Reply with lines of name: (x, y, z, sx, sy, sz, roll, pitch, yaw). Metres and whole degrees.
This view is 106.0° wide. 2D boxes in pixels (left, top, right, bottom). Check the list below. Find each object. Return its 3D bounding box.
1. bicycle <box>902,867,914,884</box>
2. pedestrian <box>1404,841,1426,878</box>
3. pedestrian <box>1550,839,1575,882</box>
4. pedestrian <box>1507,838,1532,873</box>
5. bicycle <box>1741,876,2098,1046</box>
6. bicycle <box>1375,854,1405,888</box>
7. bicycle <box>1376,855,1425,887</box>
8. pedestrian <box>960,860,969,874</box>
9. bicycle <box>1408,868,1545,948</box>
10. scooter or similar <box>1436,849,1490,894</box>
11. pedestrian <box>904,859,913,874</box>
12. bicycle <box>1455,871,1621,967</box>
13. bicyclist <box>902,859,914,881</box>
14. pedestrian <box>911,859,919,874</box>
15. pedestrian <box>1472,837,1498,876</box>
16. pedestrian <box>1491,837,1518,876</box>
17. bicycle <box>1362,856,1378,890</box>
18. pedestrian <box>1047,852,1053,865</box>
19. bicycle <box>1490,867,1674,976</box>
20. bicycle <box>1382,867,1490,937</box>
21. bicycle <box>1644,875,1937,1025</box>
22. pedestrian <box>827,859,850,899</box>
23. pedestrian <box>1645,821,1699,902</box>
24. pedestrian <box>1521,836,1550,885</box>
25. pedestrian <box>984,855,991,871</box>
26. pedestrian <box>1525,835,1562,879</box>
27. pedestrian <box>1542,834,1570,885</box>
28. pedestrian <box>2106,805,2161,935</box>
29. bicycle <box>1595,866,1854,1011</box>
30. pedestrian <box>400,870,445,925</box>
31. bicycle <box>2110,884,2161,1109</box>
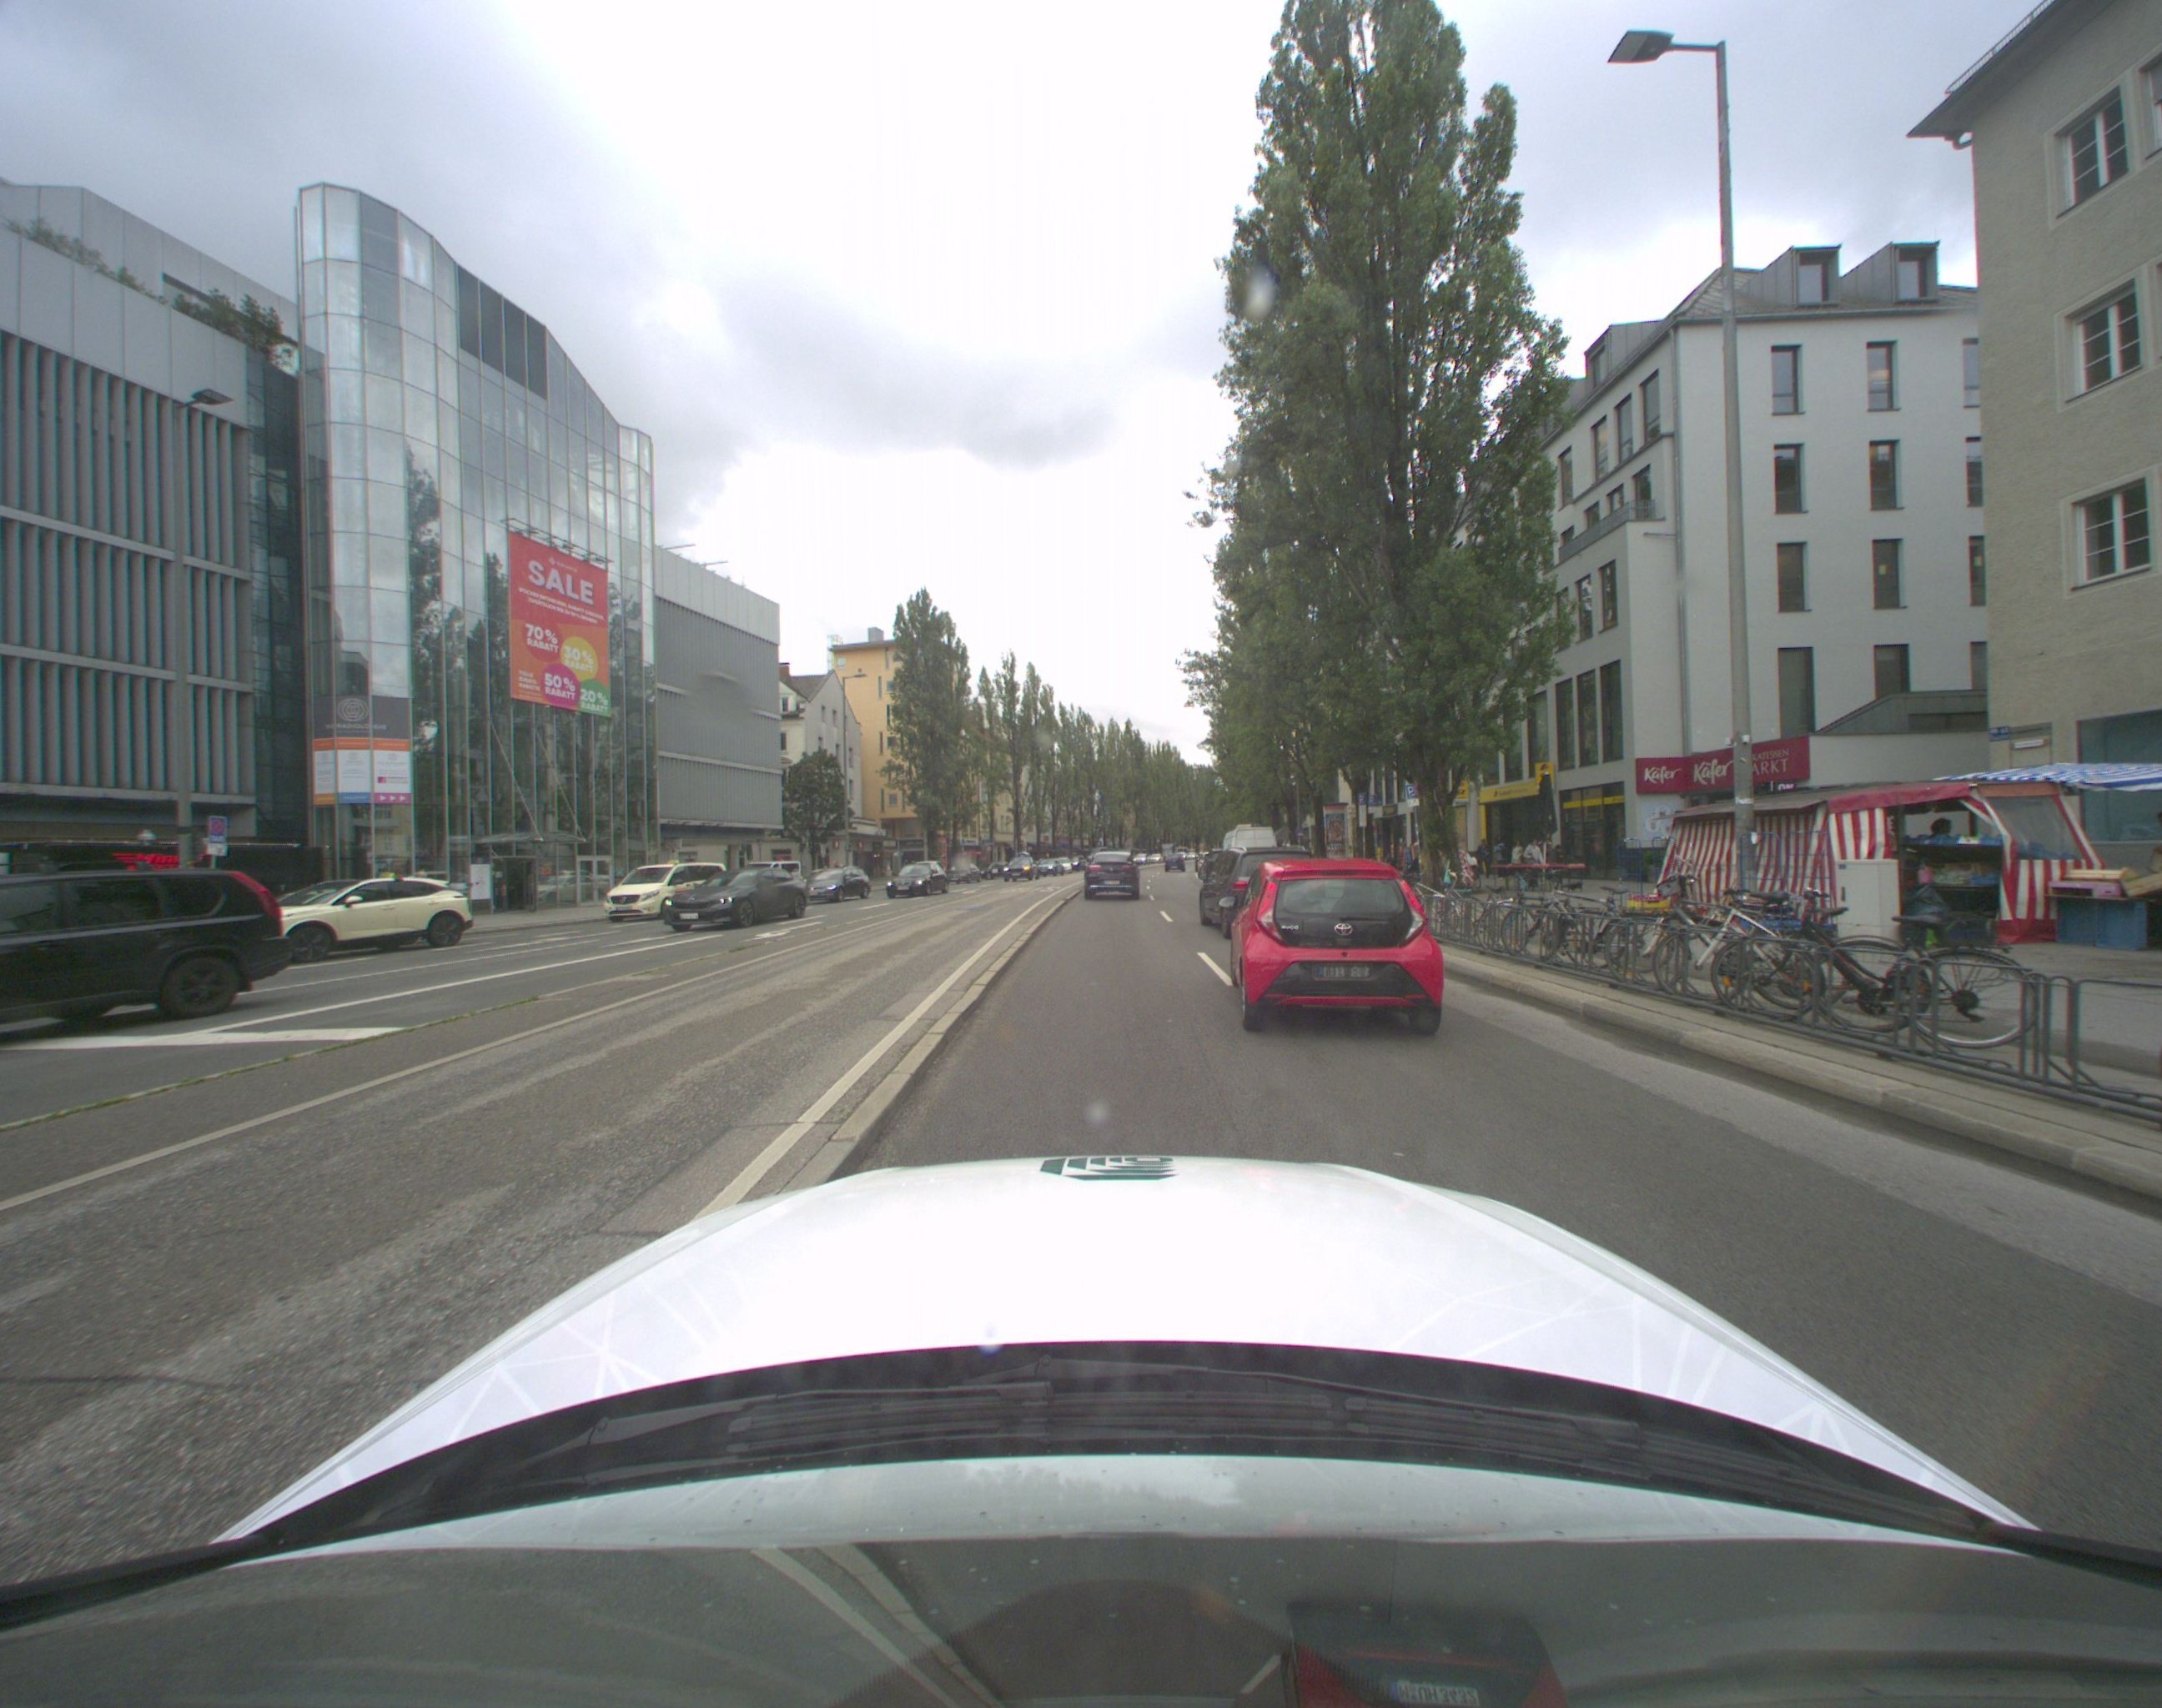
bicycle: (-12.873, 1.588, 60.697, 0.365, 1.201, 1.158, -2, 0, 15)
pedestrian: (16.239, 0.260, 39.593, 0.712, 1.724, 0.744, -3, -1, 39)
pedestrian: (16.898, 0.238, 28.584, 0.641, 1.476, 0.764, -1, -1, 40)
pedestrian: (19.628, 0.079, 36.461, 0.757, 1.535, 0.713, -3, -1, 41)
bicycle: (6.069, 0.720, 6.048, 1.779, 1.010, 0.388, 3, 2, 40)
bicycle: (11.209, 0.601, 29.574, 0.475, 1.160, 1.634, -1, 0, 2)
bicycle: (12.006, 0.625, 30.669, 1.616, 1.160, 0.708, -1, 0, 15)
pedestrian: (-12.706, 1.412, 89.164, 0.629, 1.561, 0.819, -2, 0, 16)
bicycle: (6.034, 0.786, 12.479, 1.779, 1.054, 0.550, 3, 2, 40)
scooter or similar: (10.956, 0.494, 23.335, 1.468, 1.207, 0.398, -2, 0, -17)
pedestrian: (-16.520, 1.206, 78.055, 0.630, 1.434, 0.778, -2, 0, 1)
bicycle: (5.822, 0.789, 10.454, 1.779, 1.054, 0.369, 3, 2, 40)
bicyclist: (-12.865, 1.208, 60.658, 0.498, 1.592, 0.838, -2, 0, 14)
pedestrian: (-15.904, 1.201, 78.011, 0.630, 1.434, 0.778, -2, 0, 1)
pedestrian: (17.499, 0.107, 35.267, 0.688, 1.649, 0.798, -2, 0, 1)
pedestrian: (17.648, 0.123, 33.986, 0.688, 1.585, 0.773, -2, 0, 1)
bicycle: (10.263, 0.666, 28.979, 0.473, 1.160, 1.834, -1, 0, 18)
pedestrian: (-4.392, 0.645, 116.026, 0.633, 1.862, 0.650, -2, 0, 14)
bicycle: (5.944, 0.755, 9.723, 1.779, 1.105, 0.550, 3, 2, 40)
bicycle: (6.016, 0.785, 13.845, 1.556, 1.054, 0.550, 3, 2, 40)
bicycle: (5.830, 0.730, 6.805, 1.779, 1.010, 0.388, 3, 2, 44)
pedestrian: (-11.533, 1.186, 38.726, 0.791, 1.867, 0.838, -2, 0, -31)
pedestrian: (13.371, 0.175, 18.445, 0.789, 1.795, 0.573, 0, -1, 8)
pedestrian: (15.288, 0.215, 27.406, 0.638, 1.583, 0.636, -3, 0, 9)
pedestrian: (-10.818, 1.040, 94.601, 0.535, 1.747, 0.758, -1, 0, 14)
pedestrian: (17.612, 0.108, 31.015, 0.797, 1.637, 1.024, -2, 0, 1)
pedestrian: (16.019, 0.178, 27.473, 0.576, 1.701, 0.598, -3, 0, 9)
pedestrian: (14.344, 0.191, 10.696, 0.790, 1.673, 0.730, -2, 0, 1)
bicycle: (5.836, 0.711, 7.491, 1.779, 1.105, 0.550, 3, 2, 40)
pedestrian: (-22.215, 1.464, 27.478, 0.783, 1.805, 0.821, -2, 0, 14)
bicycle: (5.704, 0.691, 3.333, 1.779, 1.010, 0.388, 3, 2, 40)
